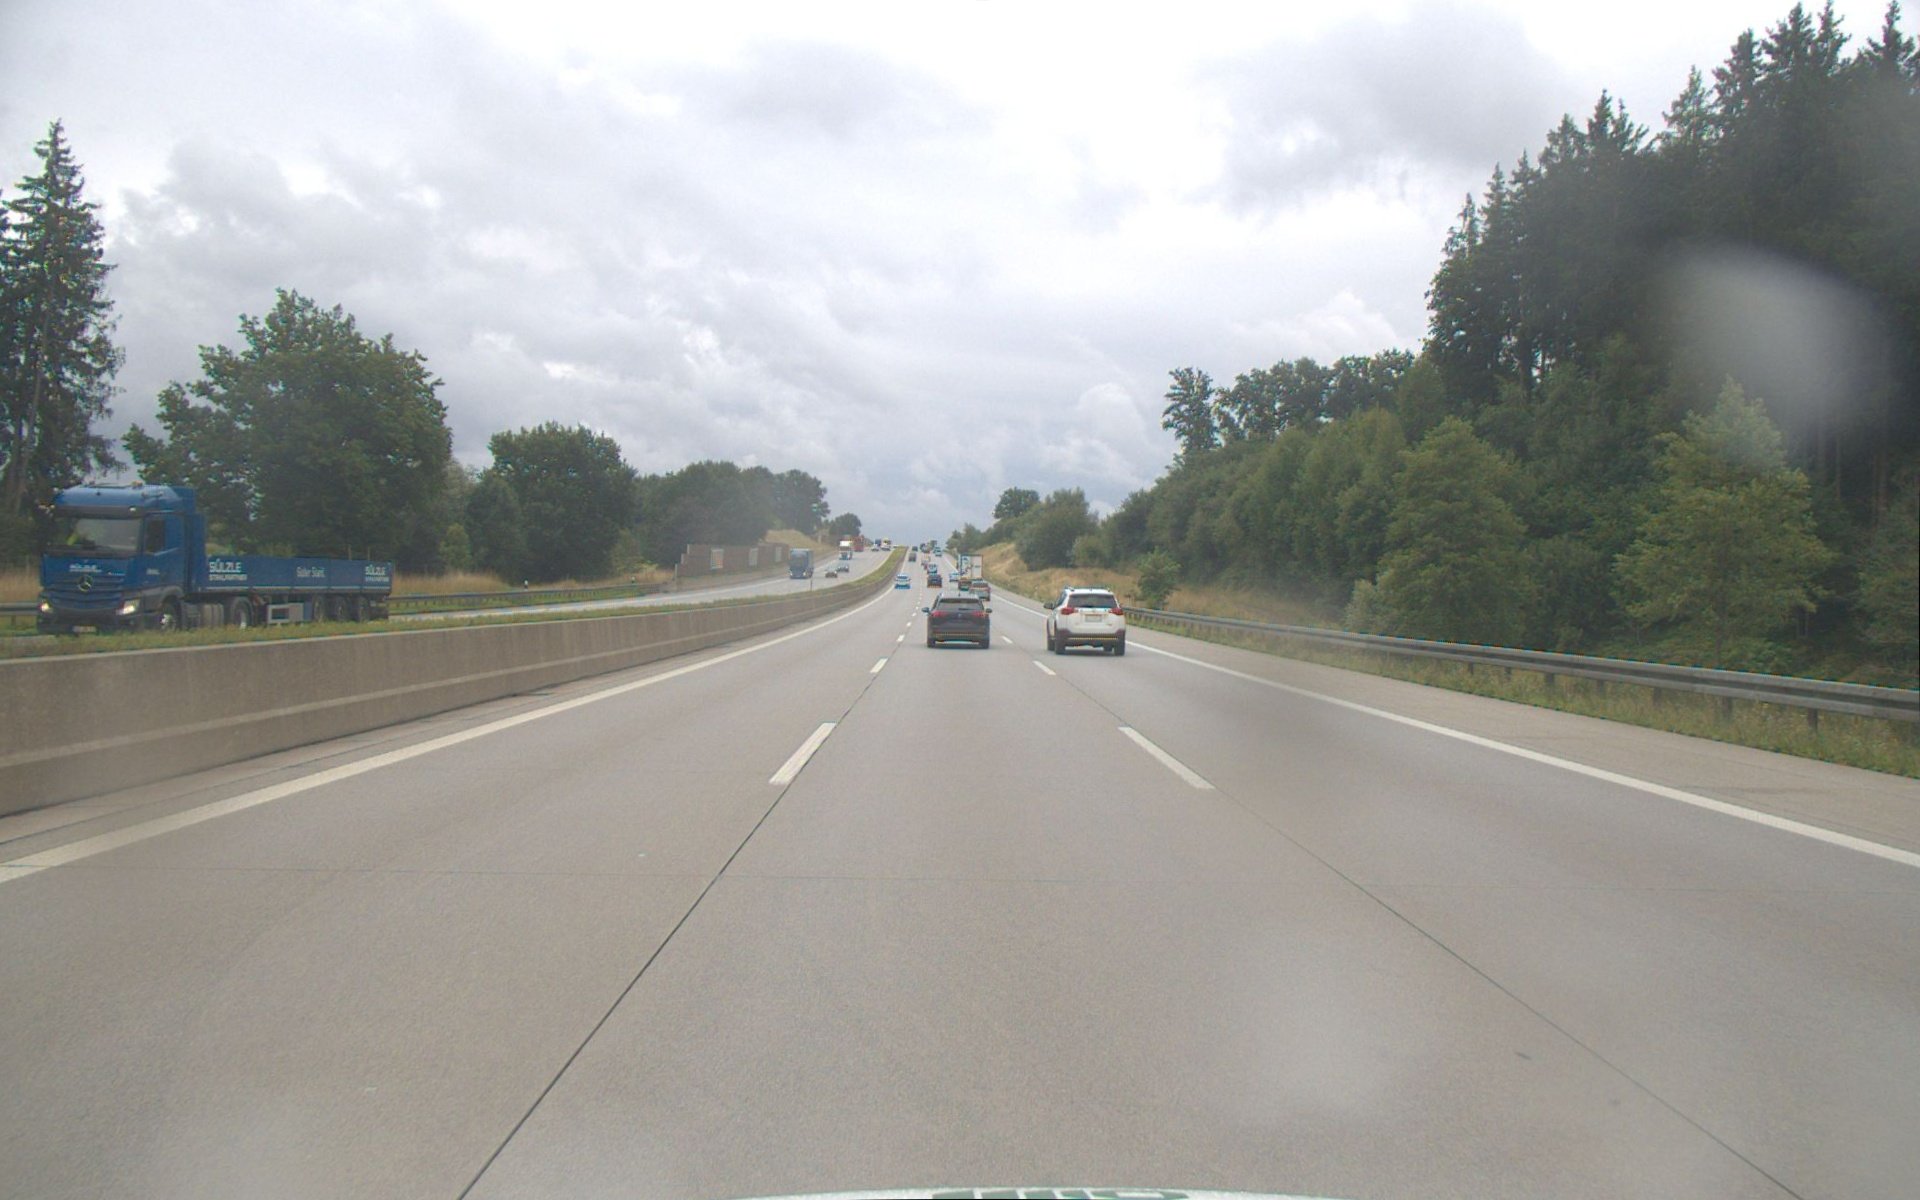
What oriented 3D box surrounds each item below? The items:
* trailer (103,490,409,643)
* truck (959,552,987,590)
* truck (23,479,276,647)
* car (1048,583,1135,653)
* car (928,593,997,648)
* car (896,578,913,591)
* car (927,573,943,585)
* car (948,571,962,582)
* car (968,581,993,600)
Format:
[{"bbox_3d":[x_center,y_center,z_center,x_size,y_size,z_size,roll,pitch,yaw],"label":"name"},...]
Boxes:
[{"bbox_3d":[-19.018,-0.796,46.207,2.729,3.569,13.882,1,0,-1],"label":"trailer"},{"bbox_3d":[1.450,-3.386,191.419,2.956,4.253,8.353,1,1,-1],"label":"truck"},{"bbox_3d":[-18.904,-0.794,39.087,2.701,3.578,6.639,1,0,-1],"label":"truck"},{"bbox_3d":[3.378,0.446,43.126,1.789,1.684,3.983,1,0,-2],"label":"car"},{"bbox_3d":[0.022,0.579,46.272,1.717,1.422,4.482,1,-1,-2],"label":"car"},{"bbox_3d":[-6.607,-1.777,196.574,1.908,1.380,4.258,0,-2,-1],"label":"car"},{"bbox_3d":[-3.099,-2.564,206.239,1.896,1.399,4.594,1,0,0],"label":"car"},{"bbox_3d":[-0.741,-3.462,243.335,1.952,1.668,4.001,1,1,1],"label":"car"},{"bbox_3d":[1.702,-0.804,139.295,1.953,1.557,3.999,1,0,-1],"label":"car"}]
